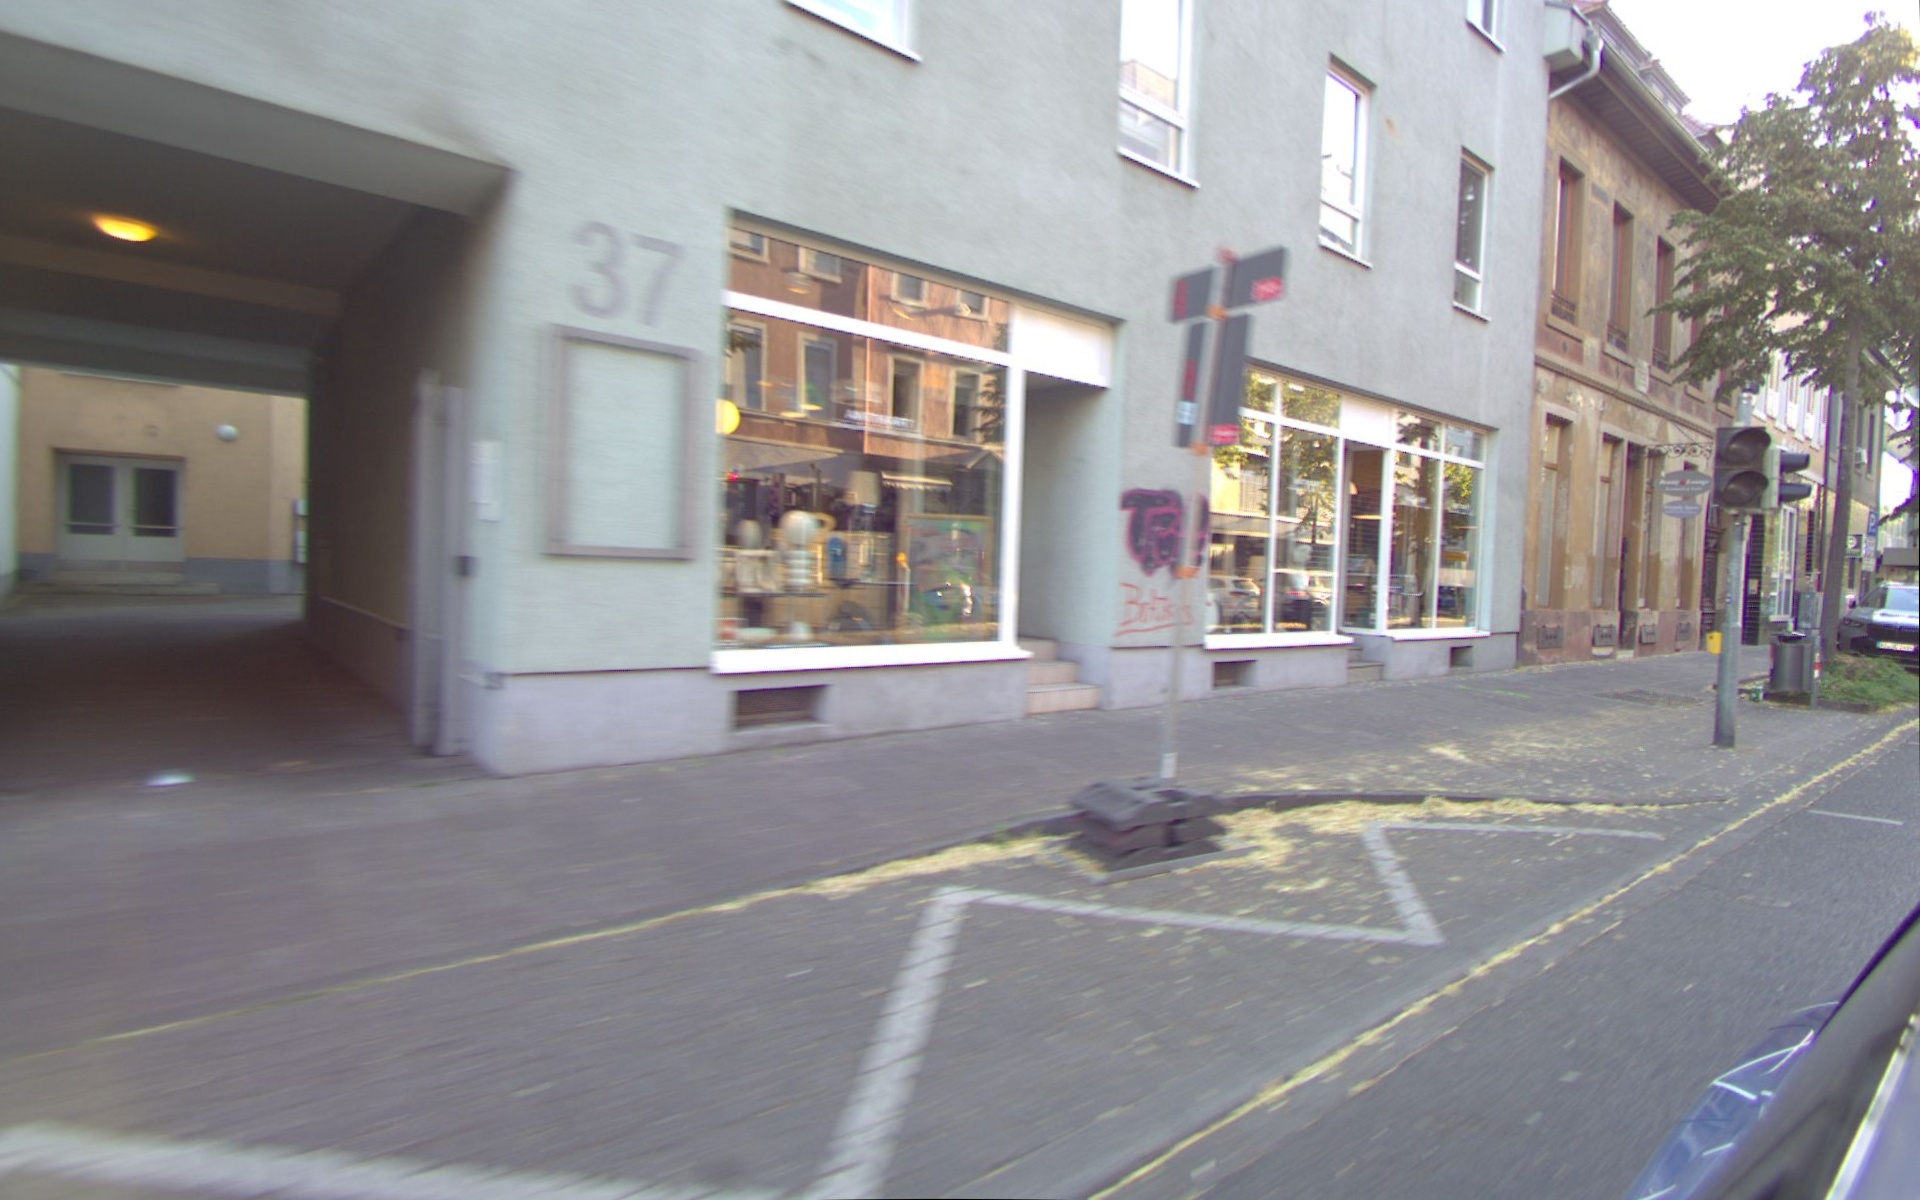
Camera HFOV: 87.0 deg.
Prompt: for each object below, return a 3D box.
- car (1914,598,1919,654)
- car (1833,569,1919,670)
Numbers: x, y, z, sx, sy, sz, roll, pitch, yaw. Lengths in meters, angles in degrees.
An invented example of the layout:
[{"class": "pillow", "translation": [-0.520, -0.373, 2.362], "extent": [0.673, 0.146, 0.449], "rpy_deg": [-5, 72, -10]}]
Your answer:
[{"class": "car", "translation": [24.228, 0.578, 24.193], "extent": [3.835, 1.505, 1.732], "rpy_deg": [0, 4, -43]}, {"class": "car", "translation": [18.990, 0.385, 19.813], "extent": [4.627, 1.758, 2.044], "rpy_deg": [1, 4, -40]}]
